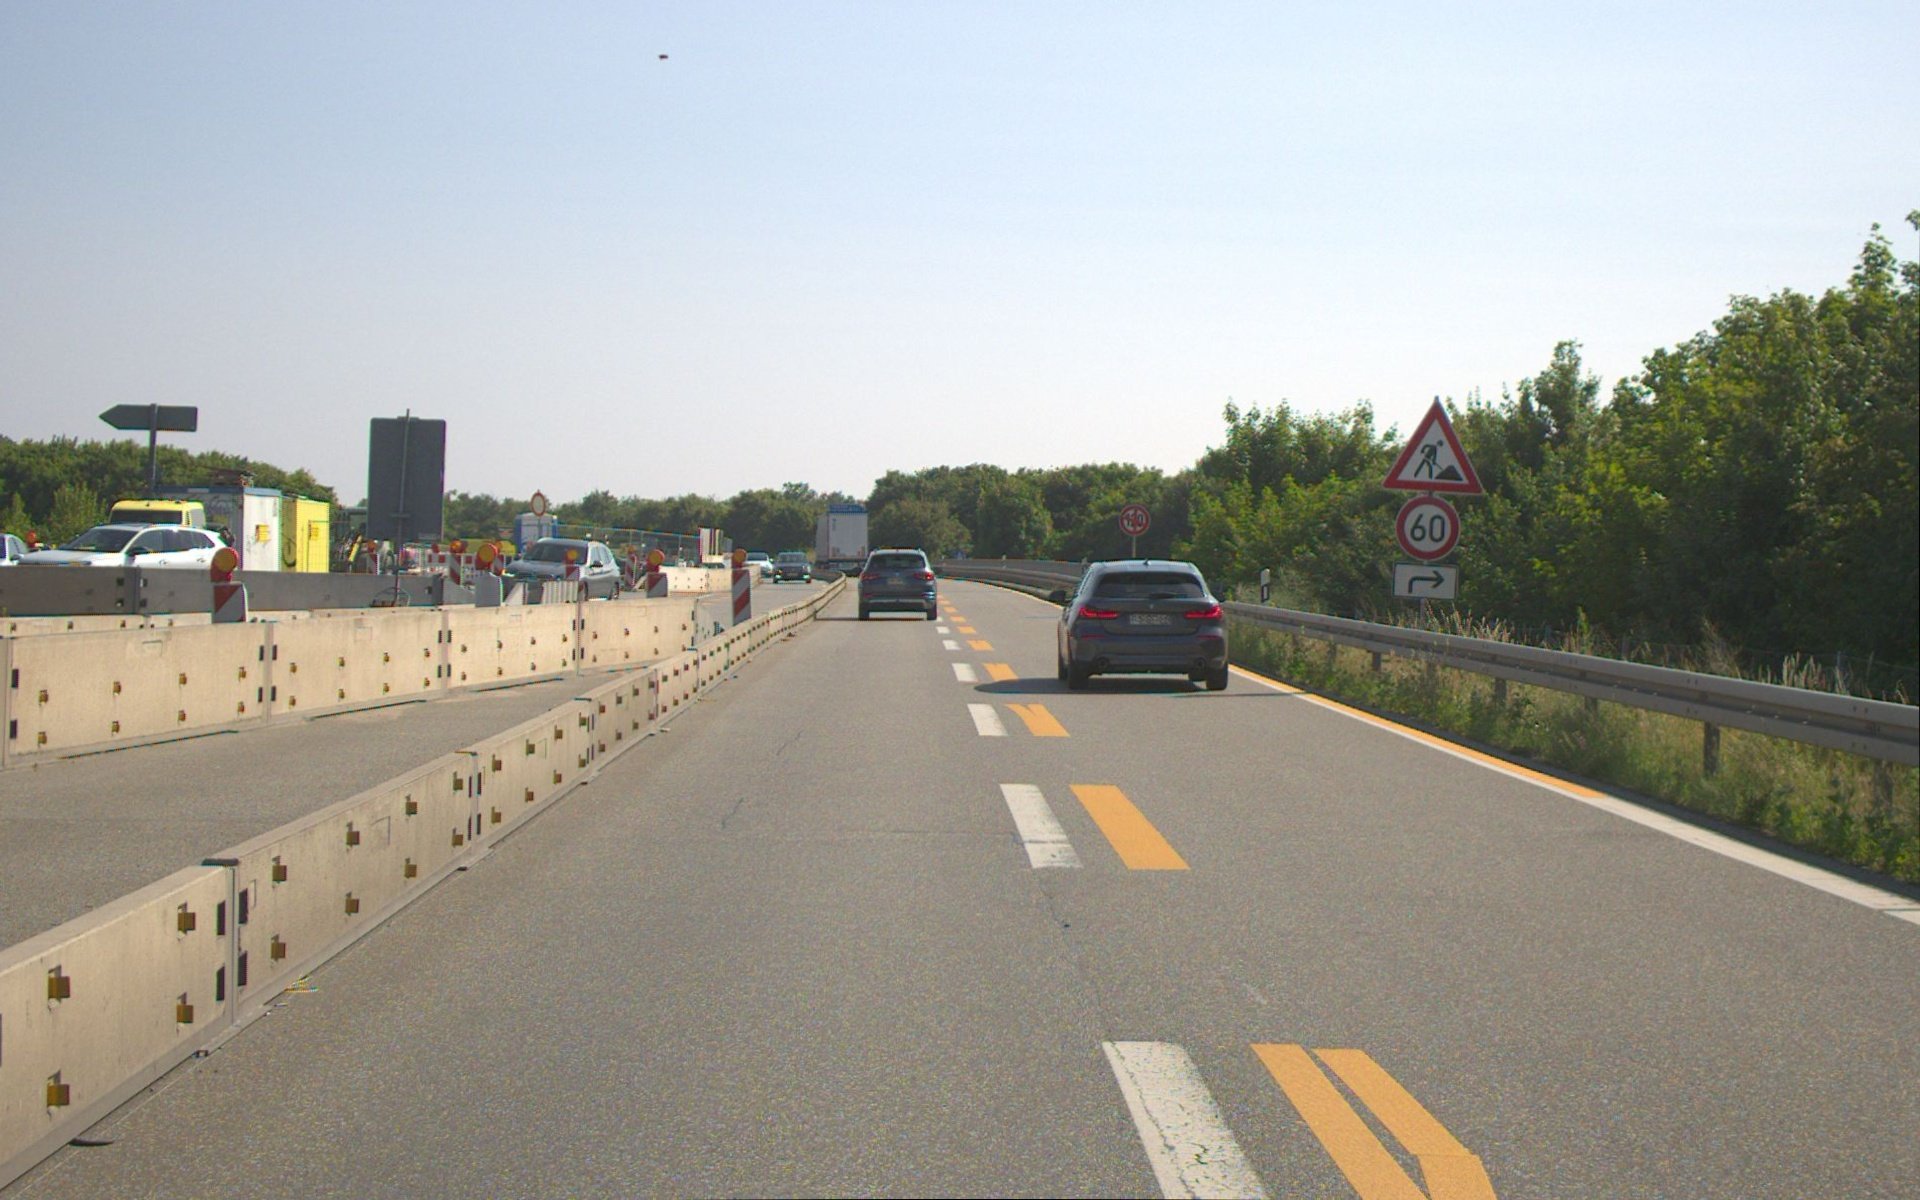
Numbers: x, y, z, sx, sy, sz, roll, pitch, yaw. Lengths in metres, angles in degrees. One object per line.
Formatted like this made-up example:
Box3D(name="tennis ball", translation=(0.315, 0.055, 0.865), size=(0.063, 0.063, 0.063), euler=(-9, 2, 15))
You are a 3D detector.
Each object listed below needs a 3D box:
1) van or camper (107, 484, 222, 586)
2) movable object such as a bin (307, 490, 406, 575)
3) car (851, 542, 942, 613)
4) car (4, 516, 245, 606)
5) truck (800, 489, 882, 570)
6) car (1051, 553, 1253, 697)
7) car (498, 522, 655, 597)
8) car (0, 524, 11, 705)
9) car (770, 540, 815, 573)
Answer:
Box3D(name="van or camper", translation=(-19.570, -1.610, 84.819), size=(1.993, 2.369, 6.203), euler=(2, 1, -6))
Box3D(name="movable object such as a bin", translation=(-19.890, -2.221, 113.501), size=(2.031, 2.706, 5.107), euler=(1, 1, 4))
Box3D(name="car", translation=(-1.433, -0.540, 78.505), size=(1.993, 1.561, 4.000), euler=(1, 1, 0))
Box3D(name="car", translation=(-15.222, -0.694, 62.802), size=(1.957, 1.549, 3.992), euler=(2, 1, 33))
Box3D(name="truck", translation=(-7.614, -4.470, 218.117), size=(3.760, 4.894, 14.140), euler=(2, 1, -7))
Box3D(name="car", translation=(2.147, 0.247, 39.484), size=(1.920, 1.488, 4.000), euler=(2, 1, -2))
Box3D(name="car", translation=(-8.790, -0.935, 79.232), size=(1.995, 1.616, 4.845), euler=(2, 1, 14))
Box3D(name="car", translation=(-9.065, 0.123, 26.889), size=(1.711, 1.510, 4.177), euler=(1, 1, 6))
Box3D(name="car", translation=(-7.797, -2.047, 160.653), size=(1.859, 1.468, 4.684), euler=(2, 1, 0))
